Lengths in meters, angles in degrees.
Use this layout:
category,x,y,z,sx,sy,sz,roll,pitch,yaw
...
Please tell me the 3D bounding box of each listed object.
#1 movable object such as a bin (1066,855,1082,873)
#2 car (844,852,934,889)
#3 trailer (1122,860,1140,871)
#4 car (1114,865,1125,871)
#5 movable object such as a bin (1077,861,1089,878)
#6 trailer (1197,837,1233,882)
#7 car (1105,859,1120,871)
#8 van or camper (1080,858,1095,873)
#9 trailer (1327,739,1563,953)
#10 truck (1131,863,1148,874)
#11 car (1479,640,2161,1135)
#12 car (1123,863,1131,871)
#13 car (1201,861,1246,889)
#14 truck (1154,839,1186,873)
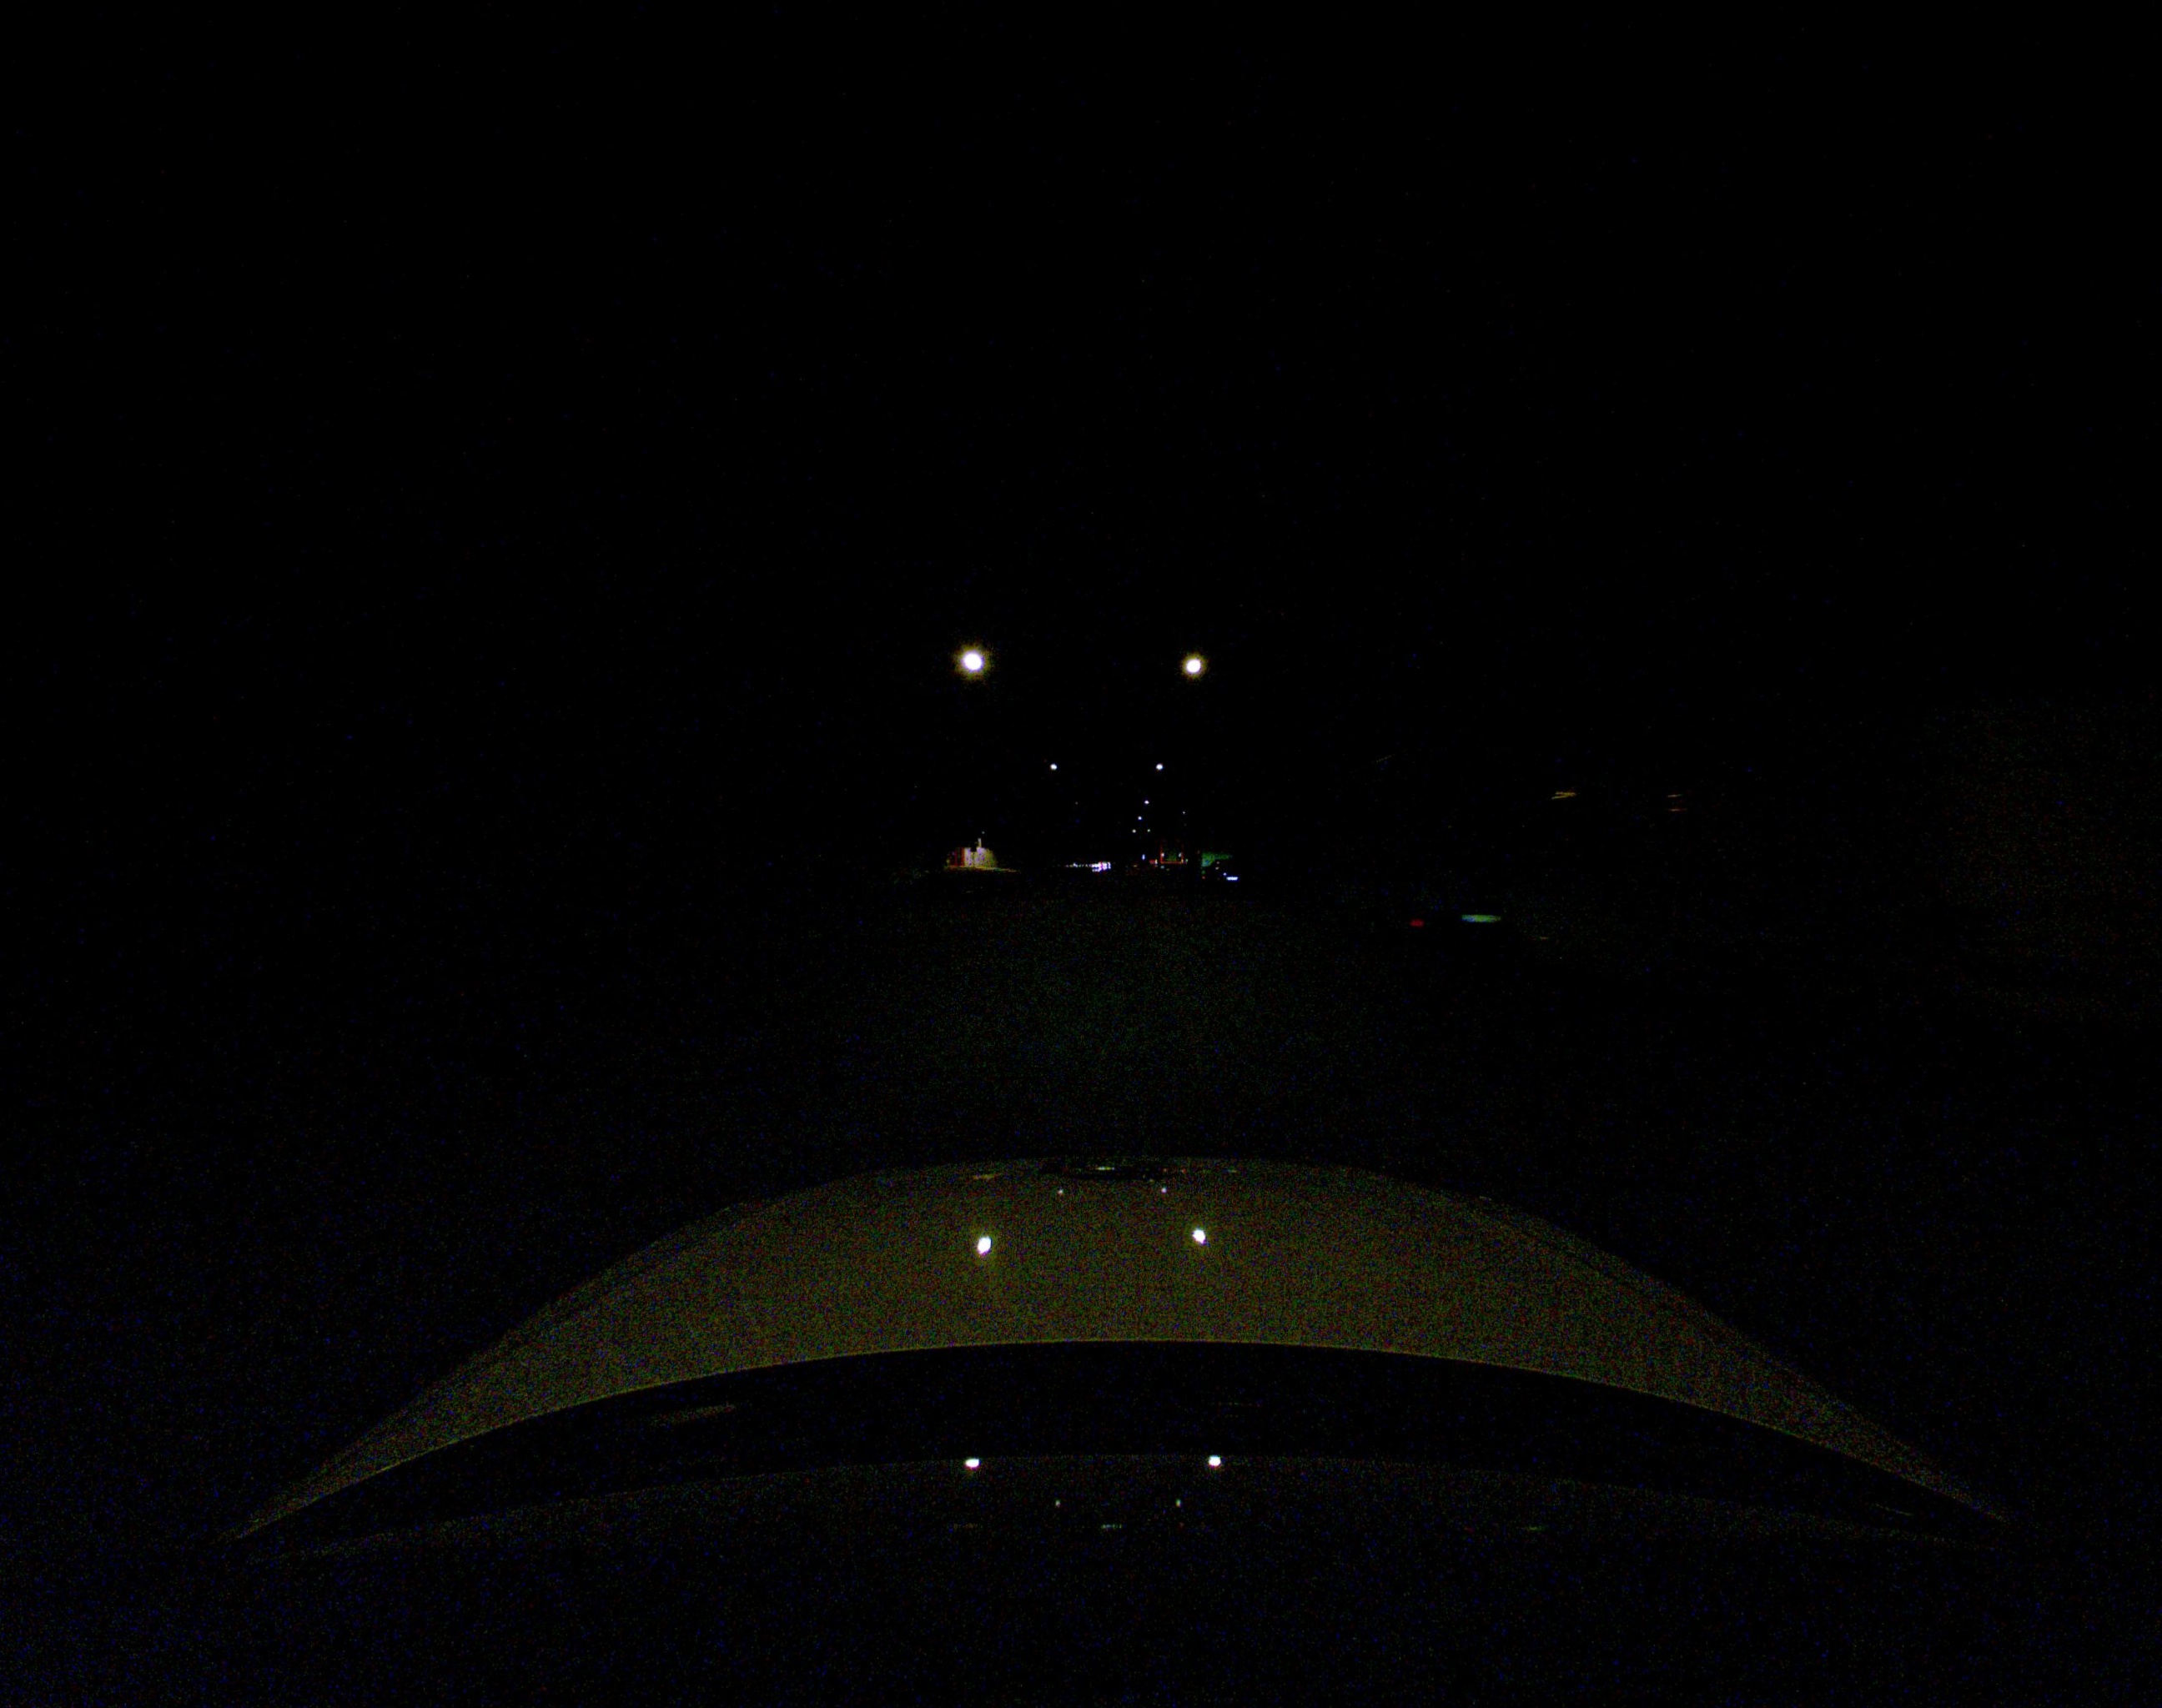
category,x,y,z,sx,sy,sz,roll,pitch,yaw
movable object such as a bin,-1.017,1.436,115.981,1.552,2.467,2.822,-1,-2,-18
car,-10.518,0.899,44.812,4.414,1.972,2.001,0,-1,2
trailer,10.811,2.494,176.234,1.566,2.161,5.179,-1,-2,-24
car,11.492,4.186,243.302,1.977,1.700,4.225,-1,-2,18
movable object such as a bin,0.350,2.553,135.536,1.567,2.734,3.696,-3,0,-4
trailer,8.168,0.353,49.967,1.983,2.651,4.006,0,-1,6
car,8.884,3.114,227.726,2.499,3.171,7.168,-3,-2,17
van or camper,1.341,2.474,173.251,2.507,3.094,7.453,-2,-2,4
trailer,6.326,-0.110,14.861,2.390,3.326,4.362,0,-1,0
truck,18.512,4.597,258.637,1.975,3.404,9.032,0,-1,27
car,6.072,0.193,7.504,1.932,2.548,6.652,0,0,3
car,10.760,3.075,191.035,1.713,1.661,4.003,0,-2,4
car,7.643,1.101,43.993,1.720,1.386,4.678,0,0,1
truck,10.669,0.336,98.260,3.310,3.869,9.334,0,-1,3
